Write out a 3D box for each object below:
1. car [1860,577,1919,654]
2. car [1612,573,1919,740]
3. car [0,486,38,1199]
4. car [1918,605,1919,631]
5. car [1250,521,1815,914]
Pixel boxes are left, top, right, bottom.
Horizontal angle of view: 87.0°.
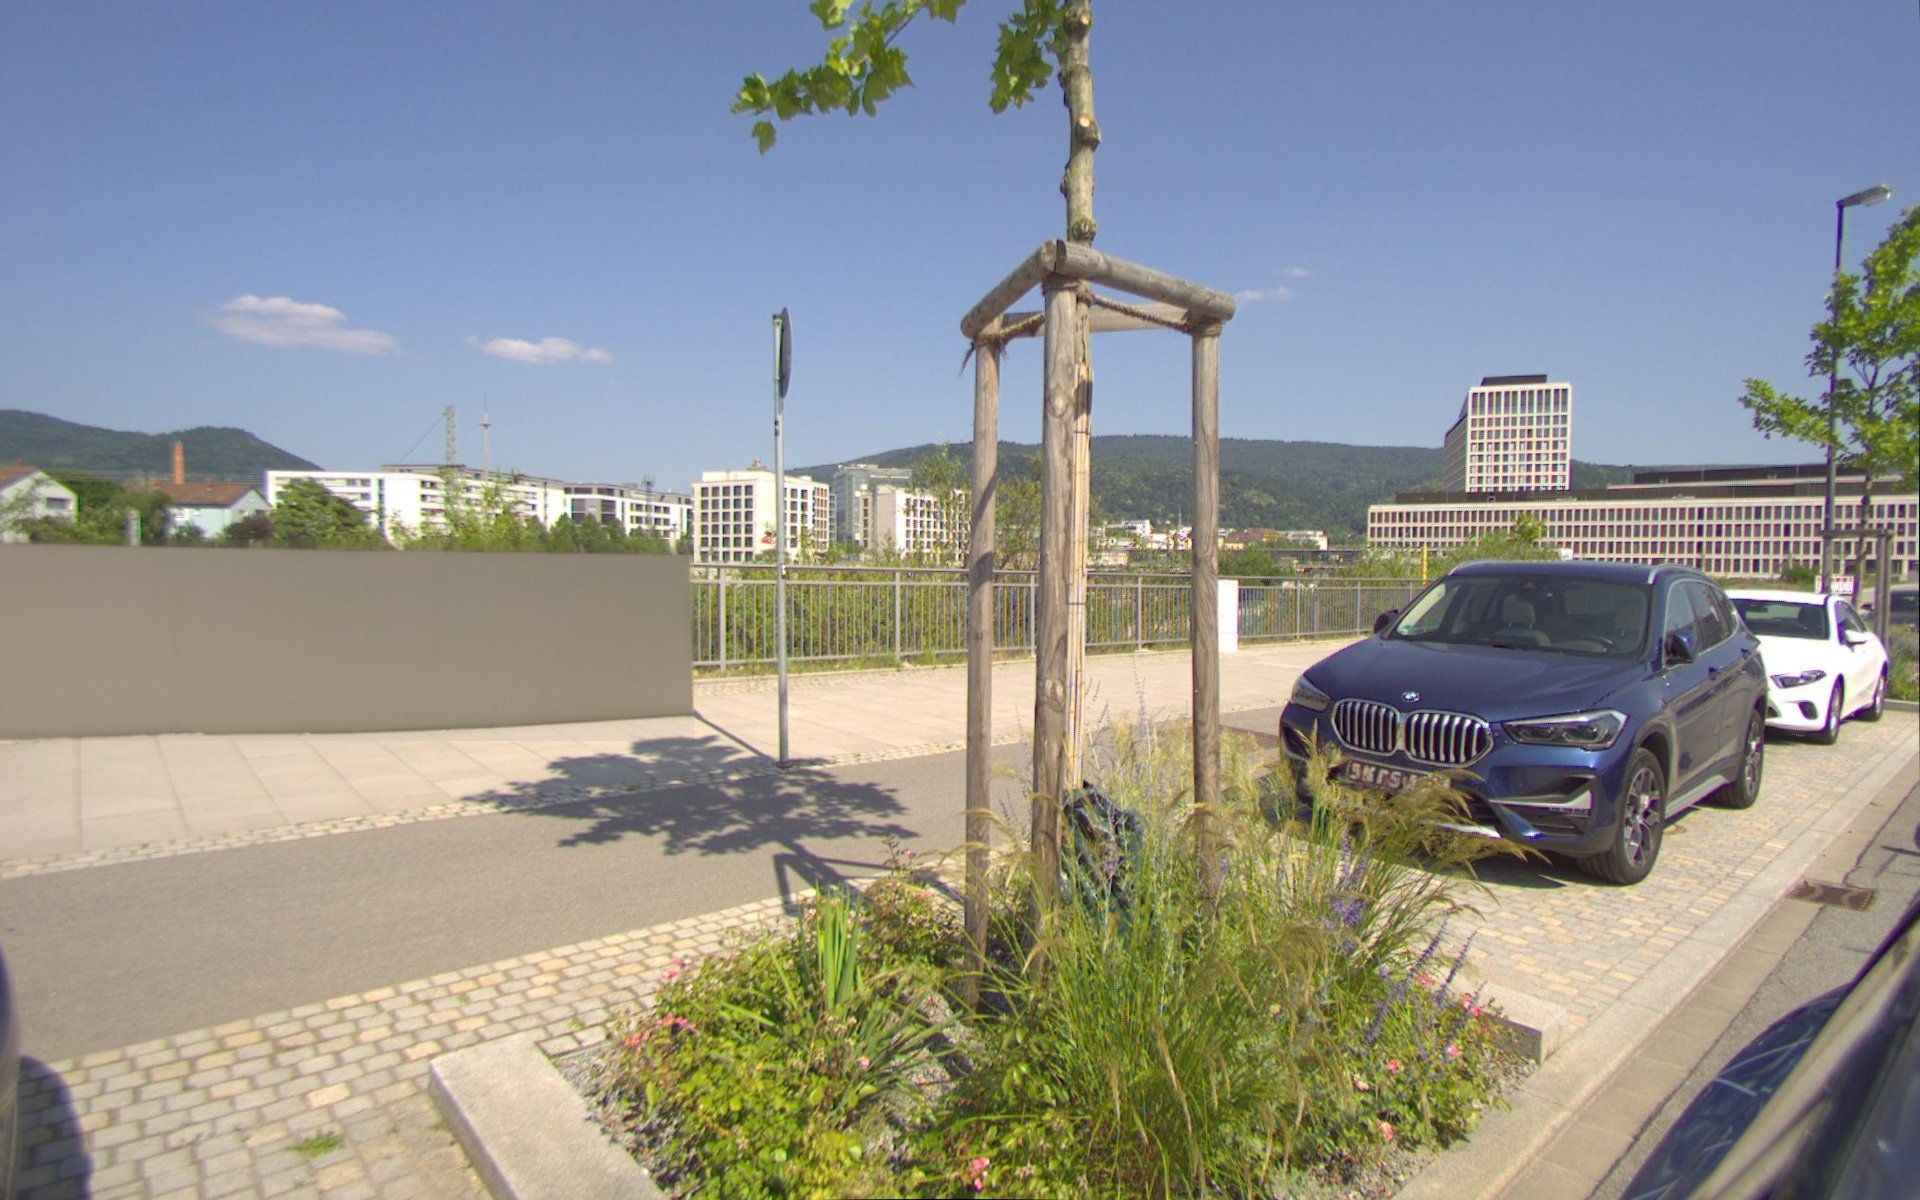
[{"bbox_3d":[20.282,0.301,21.064,3.849,1.449,1.808,-1,5,-41],"label":"car"},{"bbox_3d":[8.865,0.458,11.017,4.194,1.390,1.711,-1,5,-39],"label":"car"},{"bbox_3d":[-2.845,0.608,0.495,3.485,1.574,1.585,0,4,-41],"label":"car"},{"bbox_3d":[27.703,0.124,27.884,2.955,1.491,1.569,-1,5,-41],"label":"car"},{"bbox_3d":[3.827,0.421,6.435,4.197,1.703,1.807,-1,4,-41],"label":"car"}]
